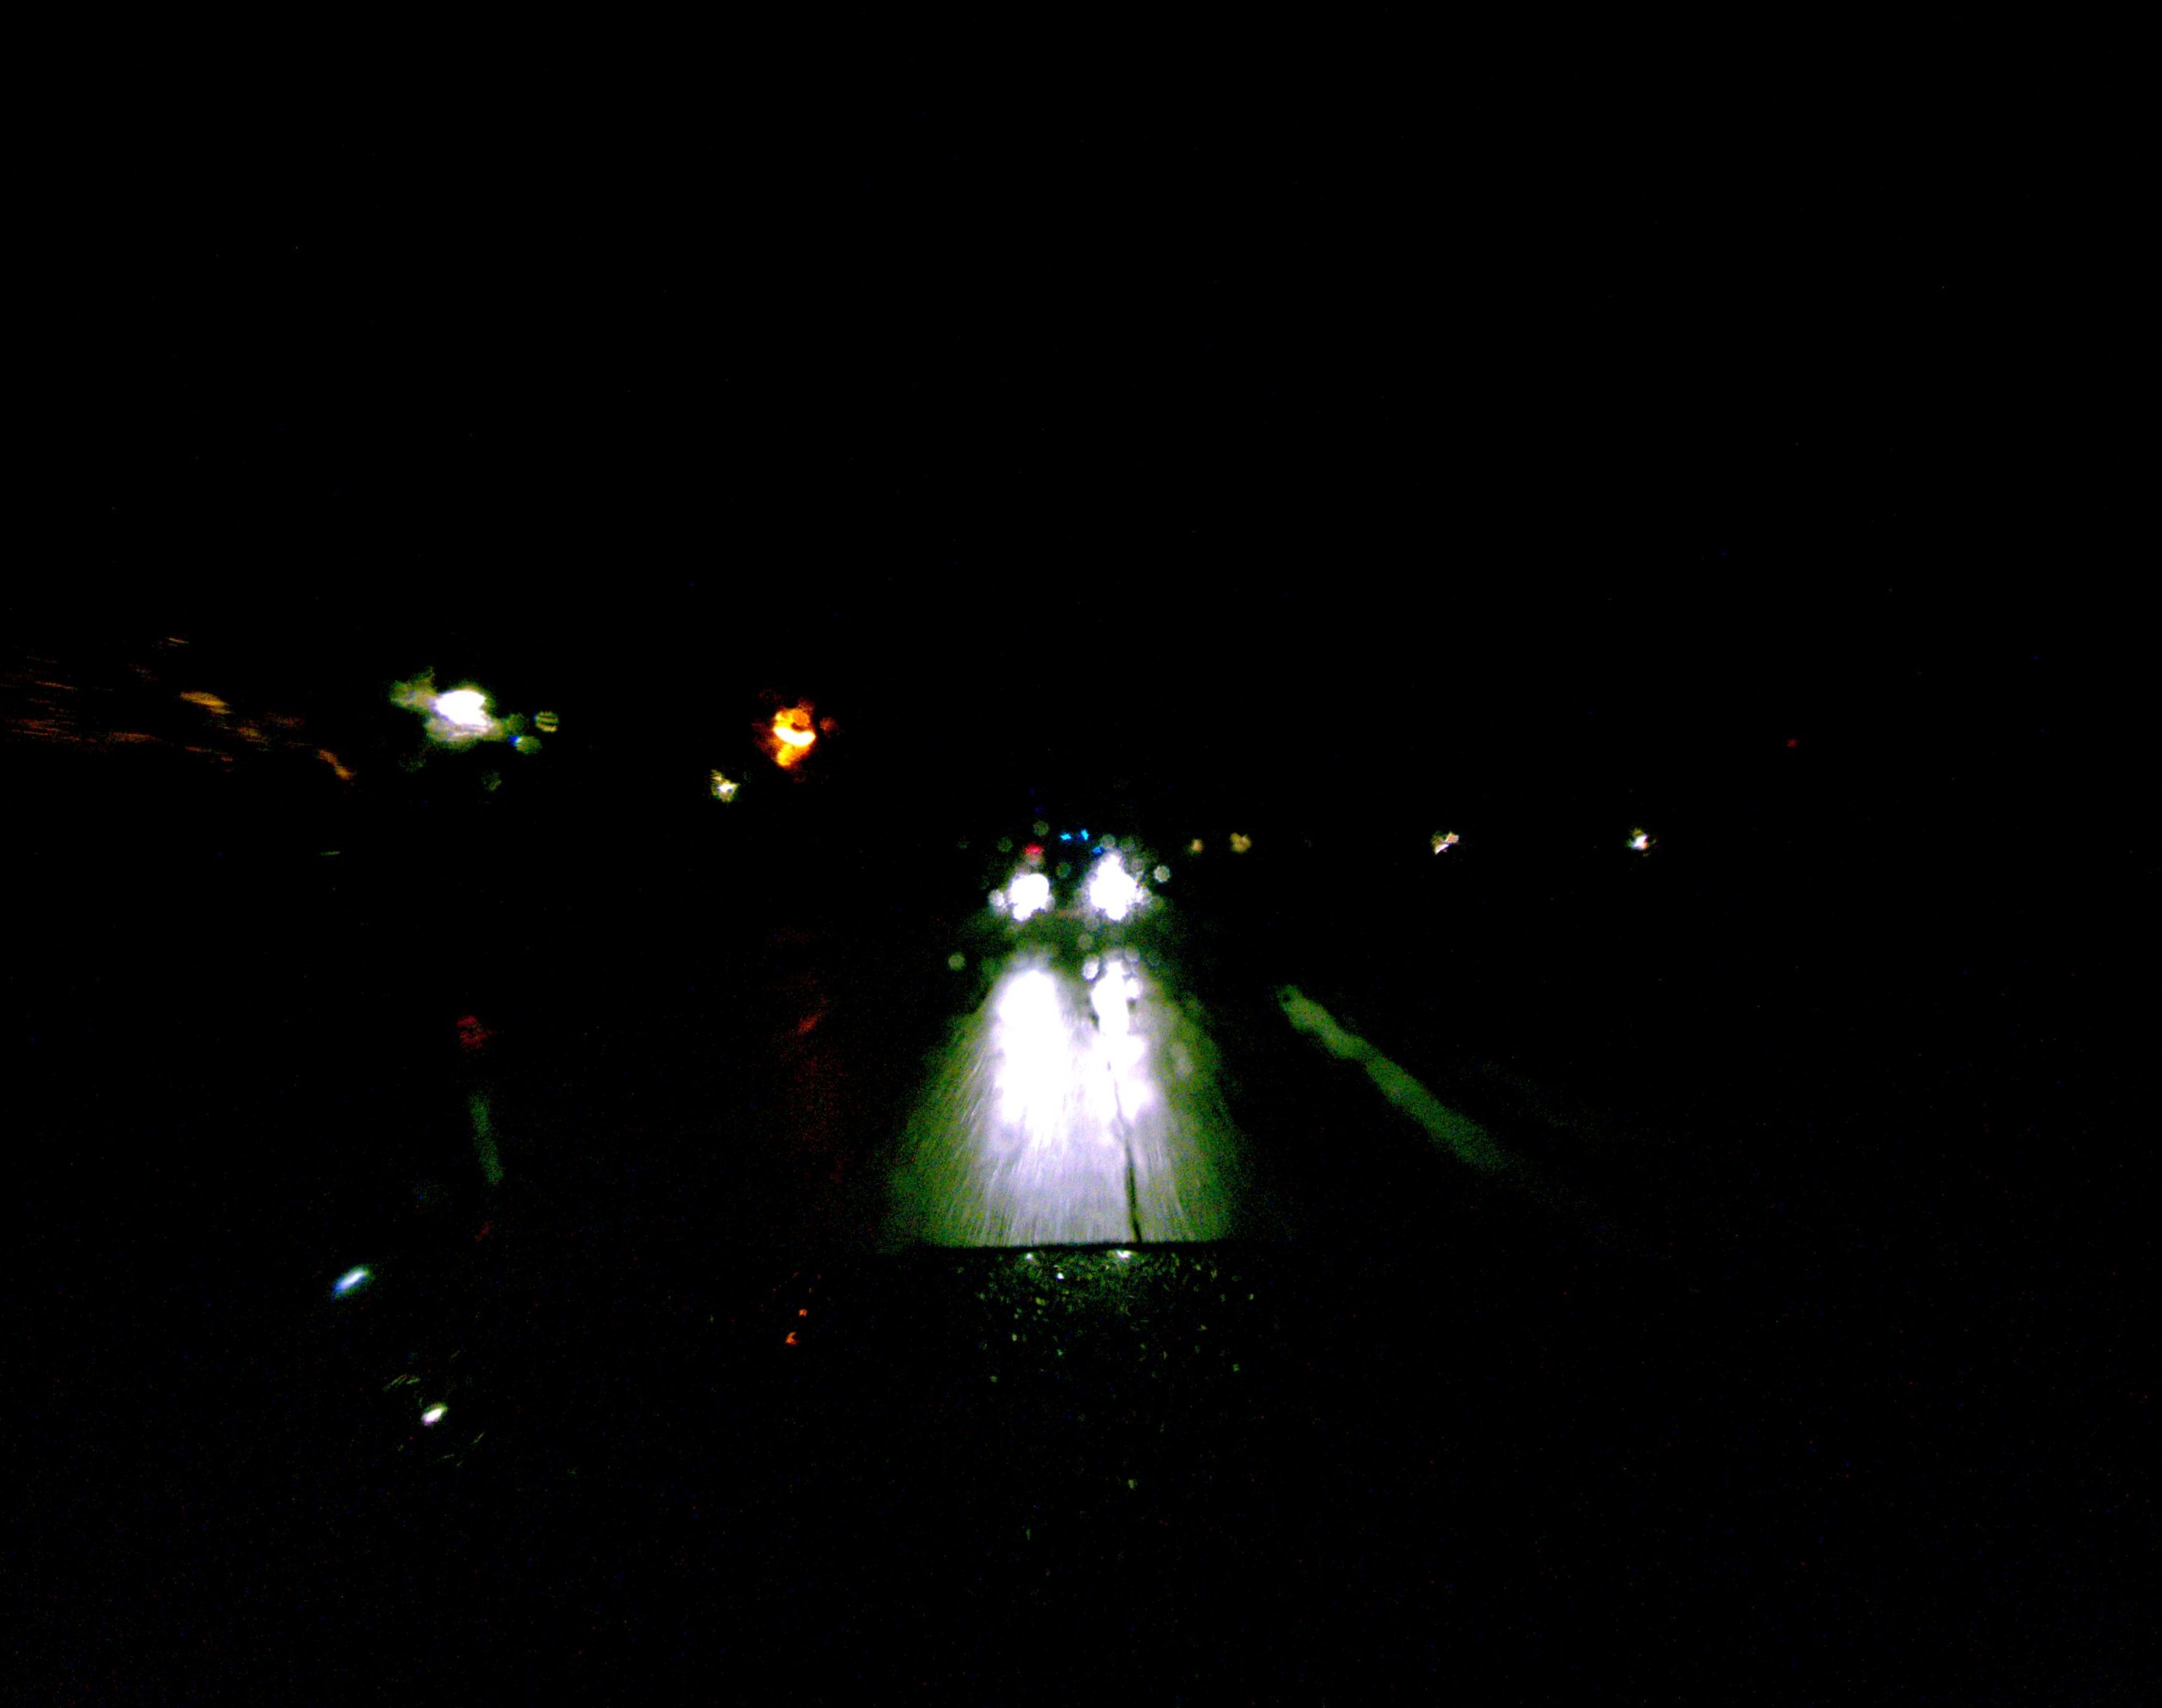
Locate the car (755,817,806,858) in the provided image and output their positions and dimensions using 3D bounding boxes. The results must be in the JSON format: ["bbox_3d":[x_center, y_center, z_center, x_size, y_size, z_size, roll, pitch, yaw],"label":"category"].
[{"bbox_3d":[-15.835,-0.824,40.226,2.001,2.002,3.994,-3,1,-15],"label":"car"}]

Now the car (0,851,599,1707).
[{"bbox_3d":[-2.662,0.925,0.146,1.839,1.725,4.940,-2,1,1],"label":"car"}]

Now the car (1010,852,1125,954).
[{"bbox_3d":[-0.179,0.804,14.720,1.826,1.573,4.354,-2,1,1],"label":"car"}]

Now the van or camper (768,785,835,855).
[{"bbox_3d":[-12.280,-1.417,33.754,2.417,2.777,5.763,-3,1,-18],"label":"van or camper"}]
